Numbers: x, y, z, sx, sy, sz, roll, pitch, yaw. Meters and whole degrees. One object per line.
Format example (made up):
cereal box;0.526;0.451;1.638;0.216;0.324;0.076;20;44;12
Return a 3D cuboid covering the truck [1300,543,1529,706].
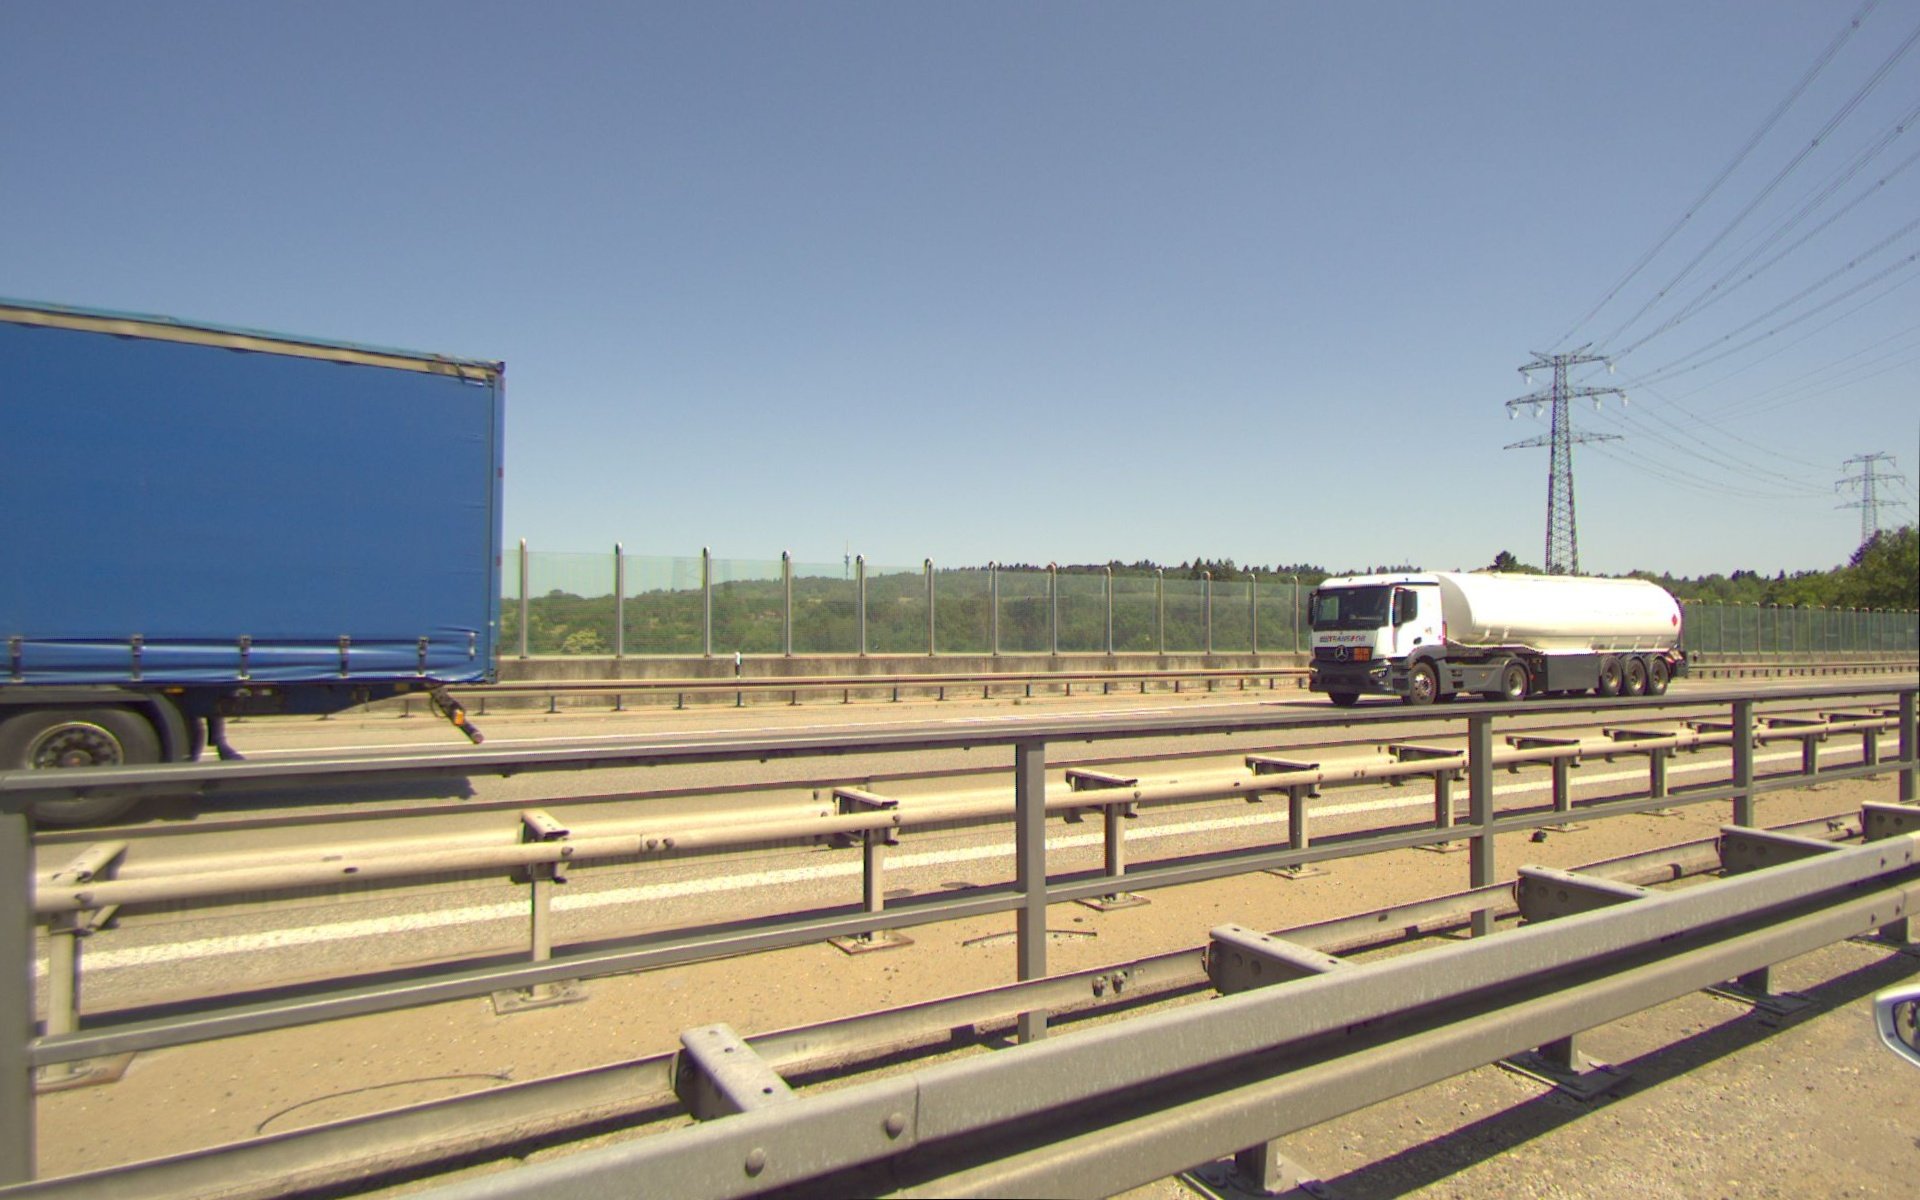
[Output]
truck;11.136;0.669;24.575;5.266;3.581;2.510;2;-3;-30

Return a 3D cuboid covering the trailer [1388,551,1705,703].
trailer;16.326;0.851;27.551;10.774;3.586;2.487;2;-3;-30

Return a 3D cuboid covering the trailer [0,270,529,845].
trailer;-9.775;-0.362;7.297;11.911;4.220;2.691;2;-3;-31
